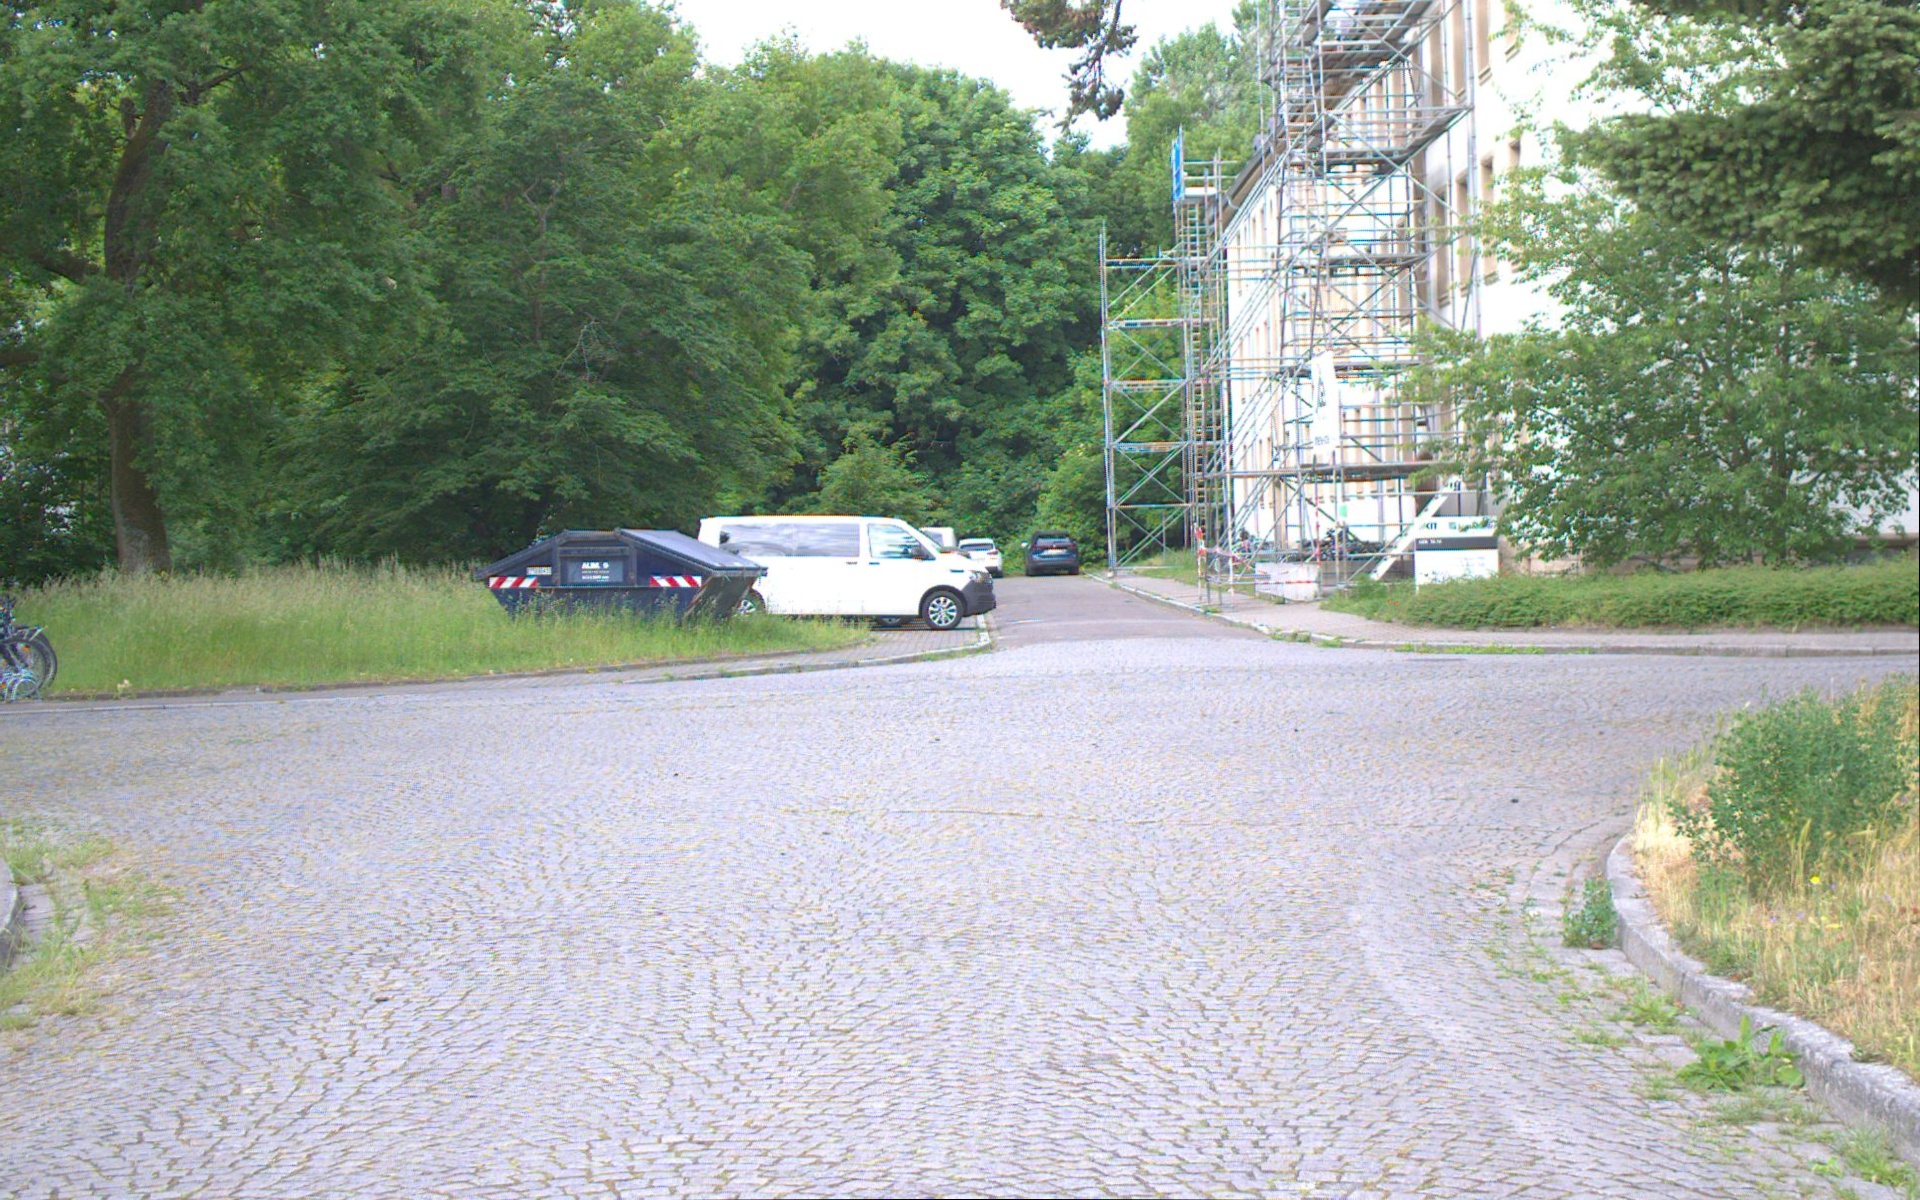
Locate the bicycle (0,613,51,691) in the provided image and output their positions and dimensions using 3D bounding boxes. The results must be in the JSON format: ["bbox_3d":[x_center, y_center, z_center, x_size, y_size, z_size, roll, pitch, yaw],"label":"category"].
[{"bbox_3d":[-12.928,0.704,44.865,1.957,0.986,0.627,-2,1,-22],"label":"bicycle"}]

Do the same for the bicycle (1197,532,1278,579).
[{"bbox_3d":[7.878,-1.266,97.702,2.240,1.250,0.634,-2,1,3],"label":"bicycle"}]

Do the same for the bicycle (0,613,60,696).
[{"bbox_3d":[-12.211,0.701,42.580,1.957,0.986,0.627,-2,1,-22],"label":"bicycle"}]

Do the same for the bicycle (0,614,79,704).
[{"bbox_3d":[-11.157,0.695,39.371,1.957,0.986,0.627,-2,1,-22],"label":"bicycle"}]

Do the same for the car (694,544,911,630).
[{"bbox_3d":[-2.817,-0.243,61.622,3.788,1.390,2.000,-2,1,-2],"label":"car"}]

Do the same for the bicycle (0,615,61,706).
[{"bbox_3d":[-11.183,0.702,38.747,1.957,0.986,0.627,-2,1,-20],"label":"bicycle"}]

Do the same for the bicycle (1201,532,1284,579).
[{"bbox_3d":[7.853,-1.242,95.579,2.240,1.250,0.627,-2,1,3],"label":"bicycle"}]

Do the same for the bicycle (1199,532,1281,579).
[{"bbox_3d":[7.871,-1.257,96.857,2.240,1.250,0.698,-2,1,3],"label":"bicycle"}]

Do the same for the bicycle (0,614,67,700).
[{"bbox_3d":[-11.711,0.699,40.973,1.957,0.986,0.627,-2,1,-22],"label":"bicycle"}]

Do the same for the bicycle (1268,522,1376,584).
[{"bbox_3d":[7.764,-1.015,73.803,2.240,1.250,0.777,-2,1,3],"label":"bicycle"}]

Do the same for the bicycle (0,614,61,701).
[{"bbox_3d":[-11.613,0.702,40.347,1.957,0.986,0.627,-2,1,-22],"label":"bicycle"}]

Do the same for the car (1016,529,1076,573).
[{"bbox_3d":[3.099,-1.770,125.262,1.951,1.516,4.000,-2,1,-1],"label":"car"}]

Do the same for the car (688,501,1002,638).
[{"bbox_3d":[-1.966,-0.533,59.016,5.234,2.160,2.000,-2,1,-2],"label":"car"}]

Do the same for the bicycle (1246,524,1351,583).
[{"bbox_3d":[7.501,-1.029,76.150,2.240,1.250,0.777,-2,1,3],"label":"bicycle"}]

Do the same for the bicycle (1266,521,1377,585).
[{"bbox_3d":[7.552,-0.987,71.892,2.240,1.250,0.777,-2,1,3],"label":"bicycle"}]

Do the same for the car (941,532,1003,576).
[{"bbox_3d":[0.422,-1.666,124.990,2.118,1.516,4.000,-2,1,-1],"label":"car"}]

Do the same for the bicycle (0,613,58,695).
[{"bbox_3d":[-12.390,0.701,43.164,1.957,0.986,0.627,-2,1,-22],"label":"bicycle"}]

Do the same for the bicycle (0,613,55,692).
[{"bbox_3d":[-12.729,0.702,44.293,1.957,0.986,0.627,-2,1,-22],"label":"bicycle"}]
